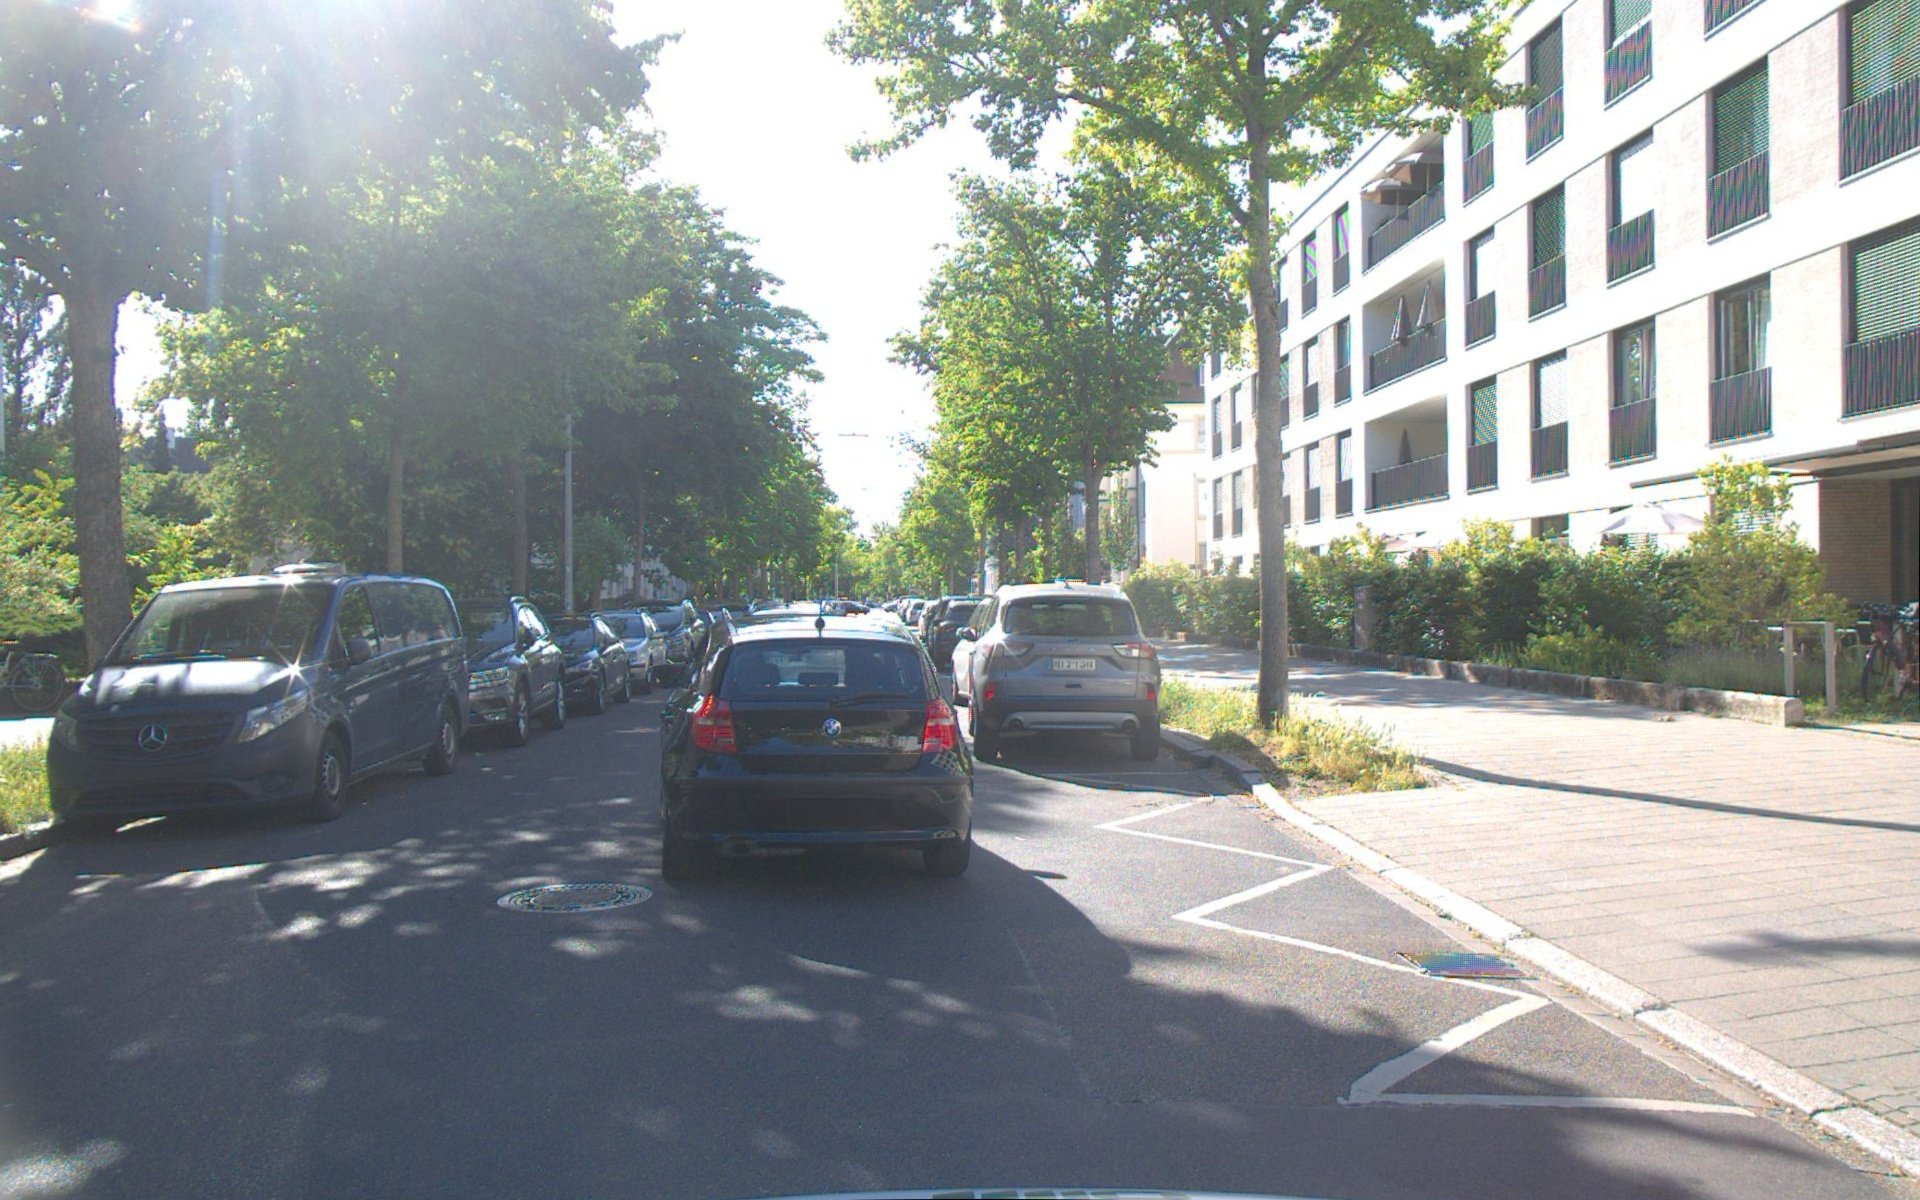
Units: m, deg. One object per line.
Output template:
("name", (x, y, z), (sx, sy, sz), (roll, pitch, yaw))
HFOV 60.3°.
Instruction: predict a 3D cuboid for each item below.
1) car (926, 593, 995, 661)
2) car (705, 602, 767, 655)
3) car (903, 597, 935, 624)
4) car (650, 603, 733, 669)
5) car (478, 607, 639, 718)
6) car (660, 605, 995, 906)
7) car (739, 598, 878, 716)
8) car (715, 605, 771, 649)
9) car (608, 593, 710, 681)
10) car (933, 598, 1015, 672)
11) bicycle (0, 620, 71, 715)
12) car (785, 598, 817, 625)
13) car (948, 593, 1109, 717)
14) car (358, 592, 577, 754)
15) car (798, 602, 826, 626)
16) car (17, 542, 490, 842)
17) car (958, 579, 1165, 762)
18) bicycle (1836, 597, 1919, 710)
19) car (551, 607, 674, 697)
("car", (-0.031, 0.686, 43.348), (1.686, 1.669, 3.850), (1, 0, -2))
("car", (-7.076, 0.864, 52.475), (1.580, 1.570, 3.863), (-2, 0, -3))
("car", (-2.426, 0.614, 98.471), (1.685, 1.506, 3.851), (-2, 0, 0))
("car", (-6.598, 0.857, 40.967), (1.580, 1.478, 3.863), (-2, 0, -3))
("car", (-5.908, 0.866, 24.751), (1.580, 1.452, 4.055), (-2, 0, -3))
("car", (-0.951, 0.769, 9.953), (1.620, 1.421, 3.402), (-2, 0, -11))
("car", (-2.029, 0.725, 23.088), (1.616, 1.450, 4.000), (-1, 0, -1))
("car", (-7.494, 0.914, 57.387), (1.580, 1.416, 3.863), (-2, 0, -3))
("car", (-6.355, 0.740, 35.272), (1.580, 1.708, 4.231), (-2, 0, -3))
("car", (0.261, 0.742, 37.351), (1.686, 1.555, 3.999), (1, 0, -2))
("bicycle", (-13.120, 0.917, 22.021), (2.108, 1.230, 0.688), (-2, 0, -14))
("car", (-8.787, 0.616, 91.510), (1.580, 1.416, 3.863), (-2, 0, -3))
("car", (0.857, 0.697, 22.934), (1.661, 1.550, 3.994), (0, 0, -6))
("car", (-5.647, 0.766, 19.452), (1.581, 1.639, 4.225), (-2, 0, -5))
("car", (-9.450, 0.875, 105.740), (1.580, 1.416, 3.863), (-2, 0, -3))
("car", (-5.475, 0.615, 13.695), (1.790, 1.937, 5.140), (-2, 0, -2))
("car", (0.925, 0.656, 17.239), (1.810, 1.659, 4.409), (0, -1, -1))
("bicycle", (9.397, 0.512, 16.254), (0.535, 1.073, 1.689), (-2, 0, -5))
("car", (-6.191, 0.889, 29.835), (1.580, 1.452, 3.723), (-2, 0, -3))
